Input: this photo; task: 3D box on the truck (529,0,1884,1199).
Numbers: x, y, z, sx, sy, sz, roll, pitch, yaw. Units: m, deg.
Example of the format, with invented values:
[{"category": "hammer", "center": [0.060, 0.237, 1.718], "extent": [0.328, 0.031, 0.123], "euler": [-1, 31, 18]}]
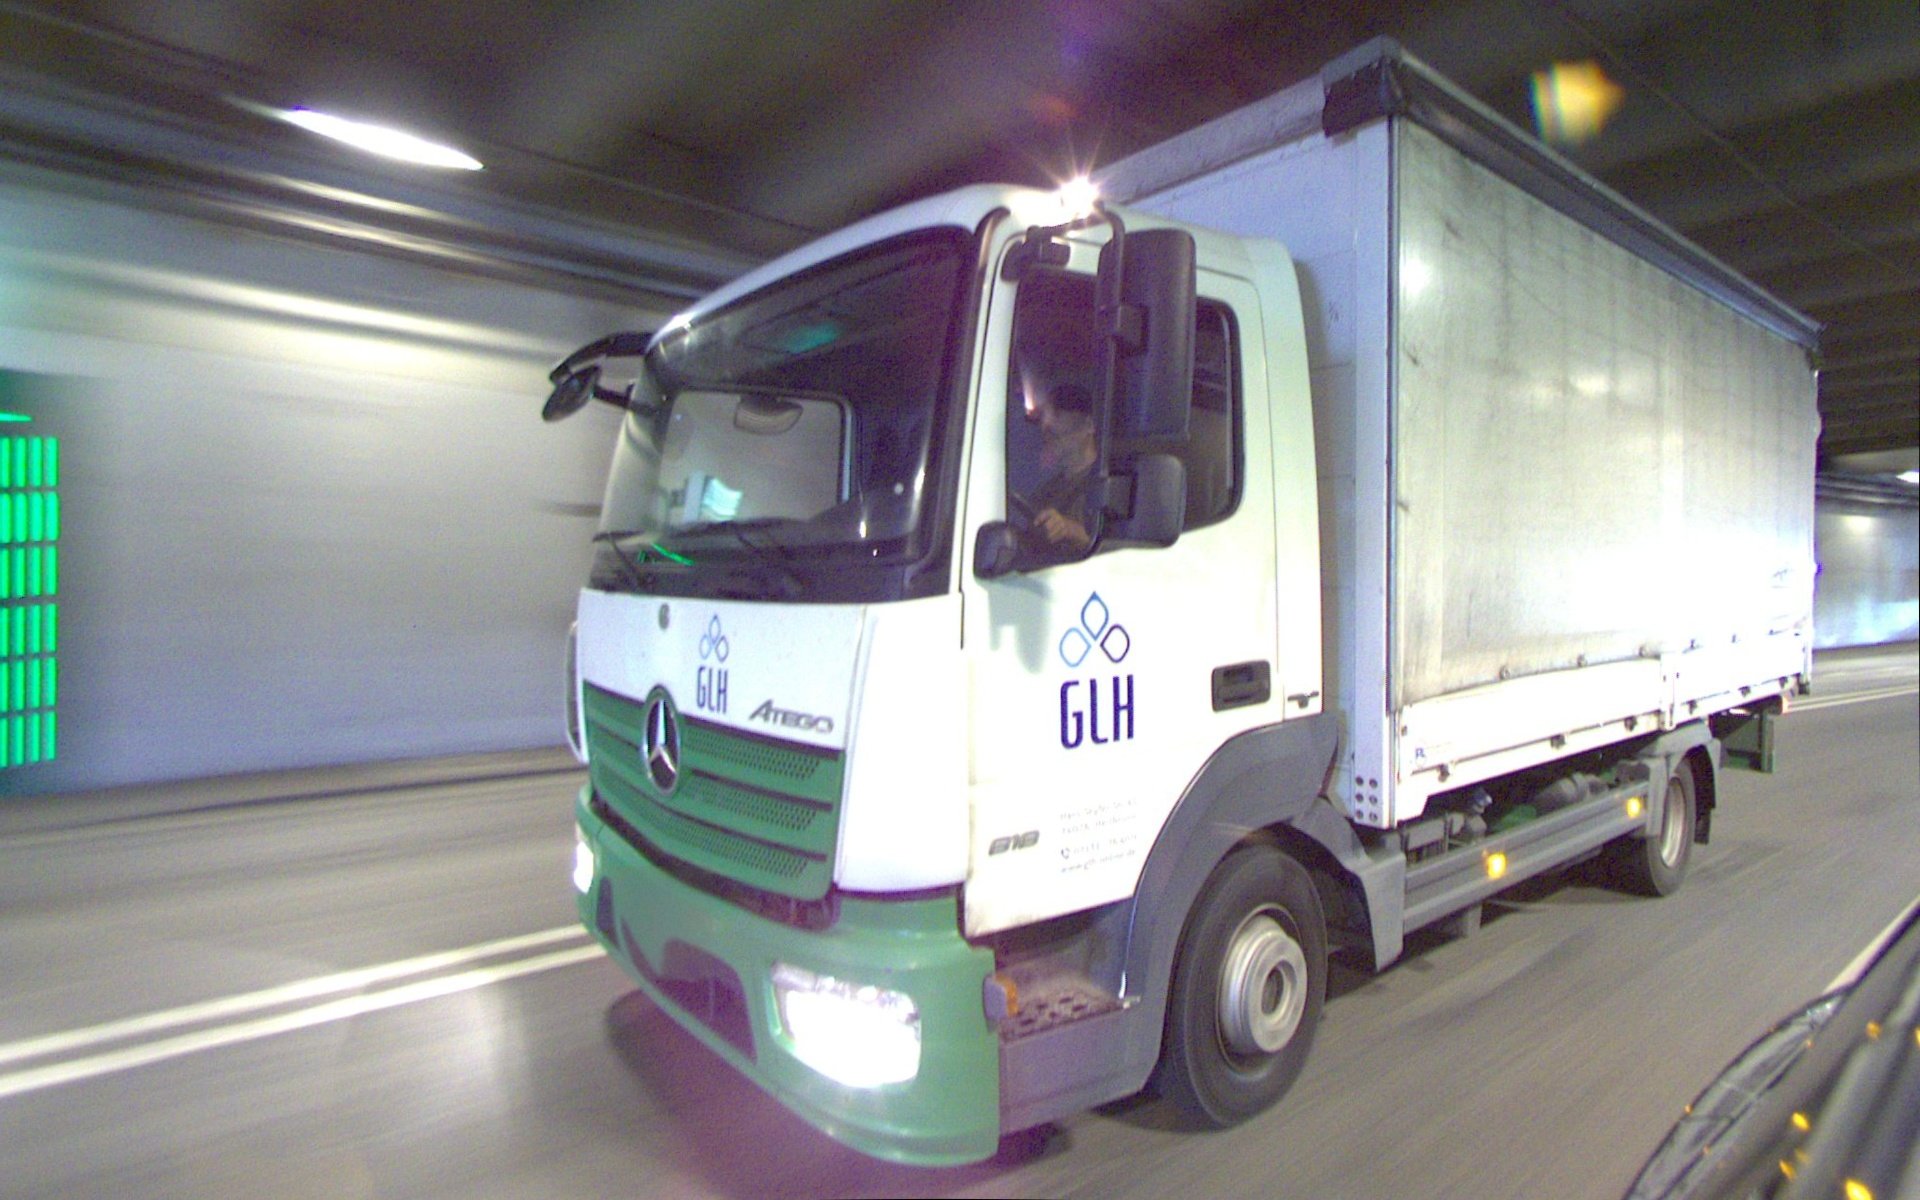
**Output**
[{"category": "truck", "center": [2.002, -0.256, 5.104], "extent": [7.279, 3.280, 2.636], "euler": [-1, 0, -37]}]
